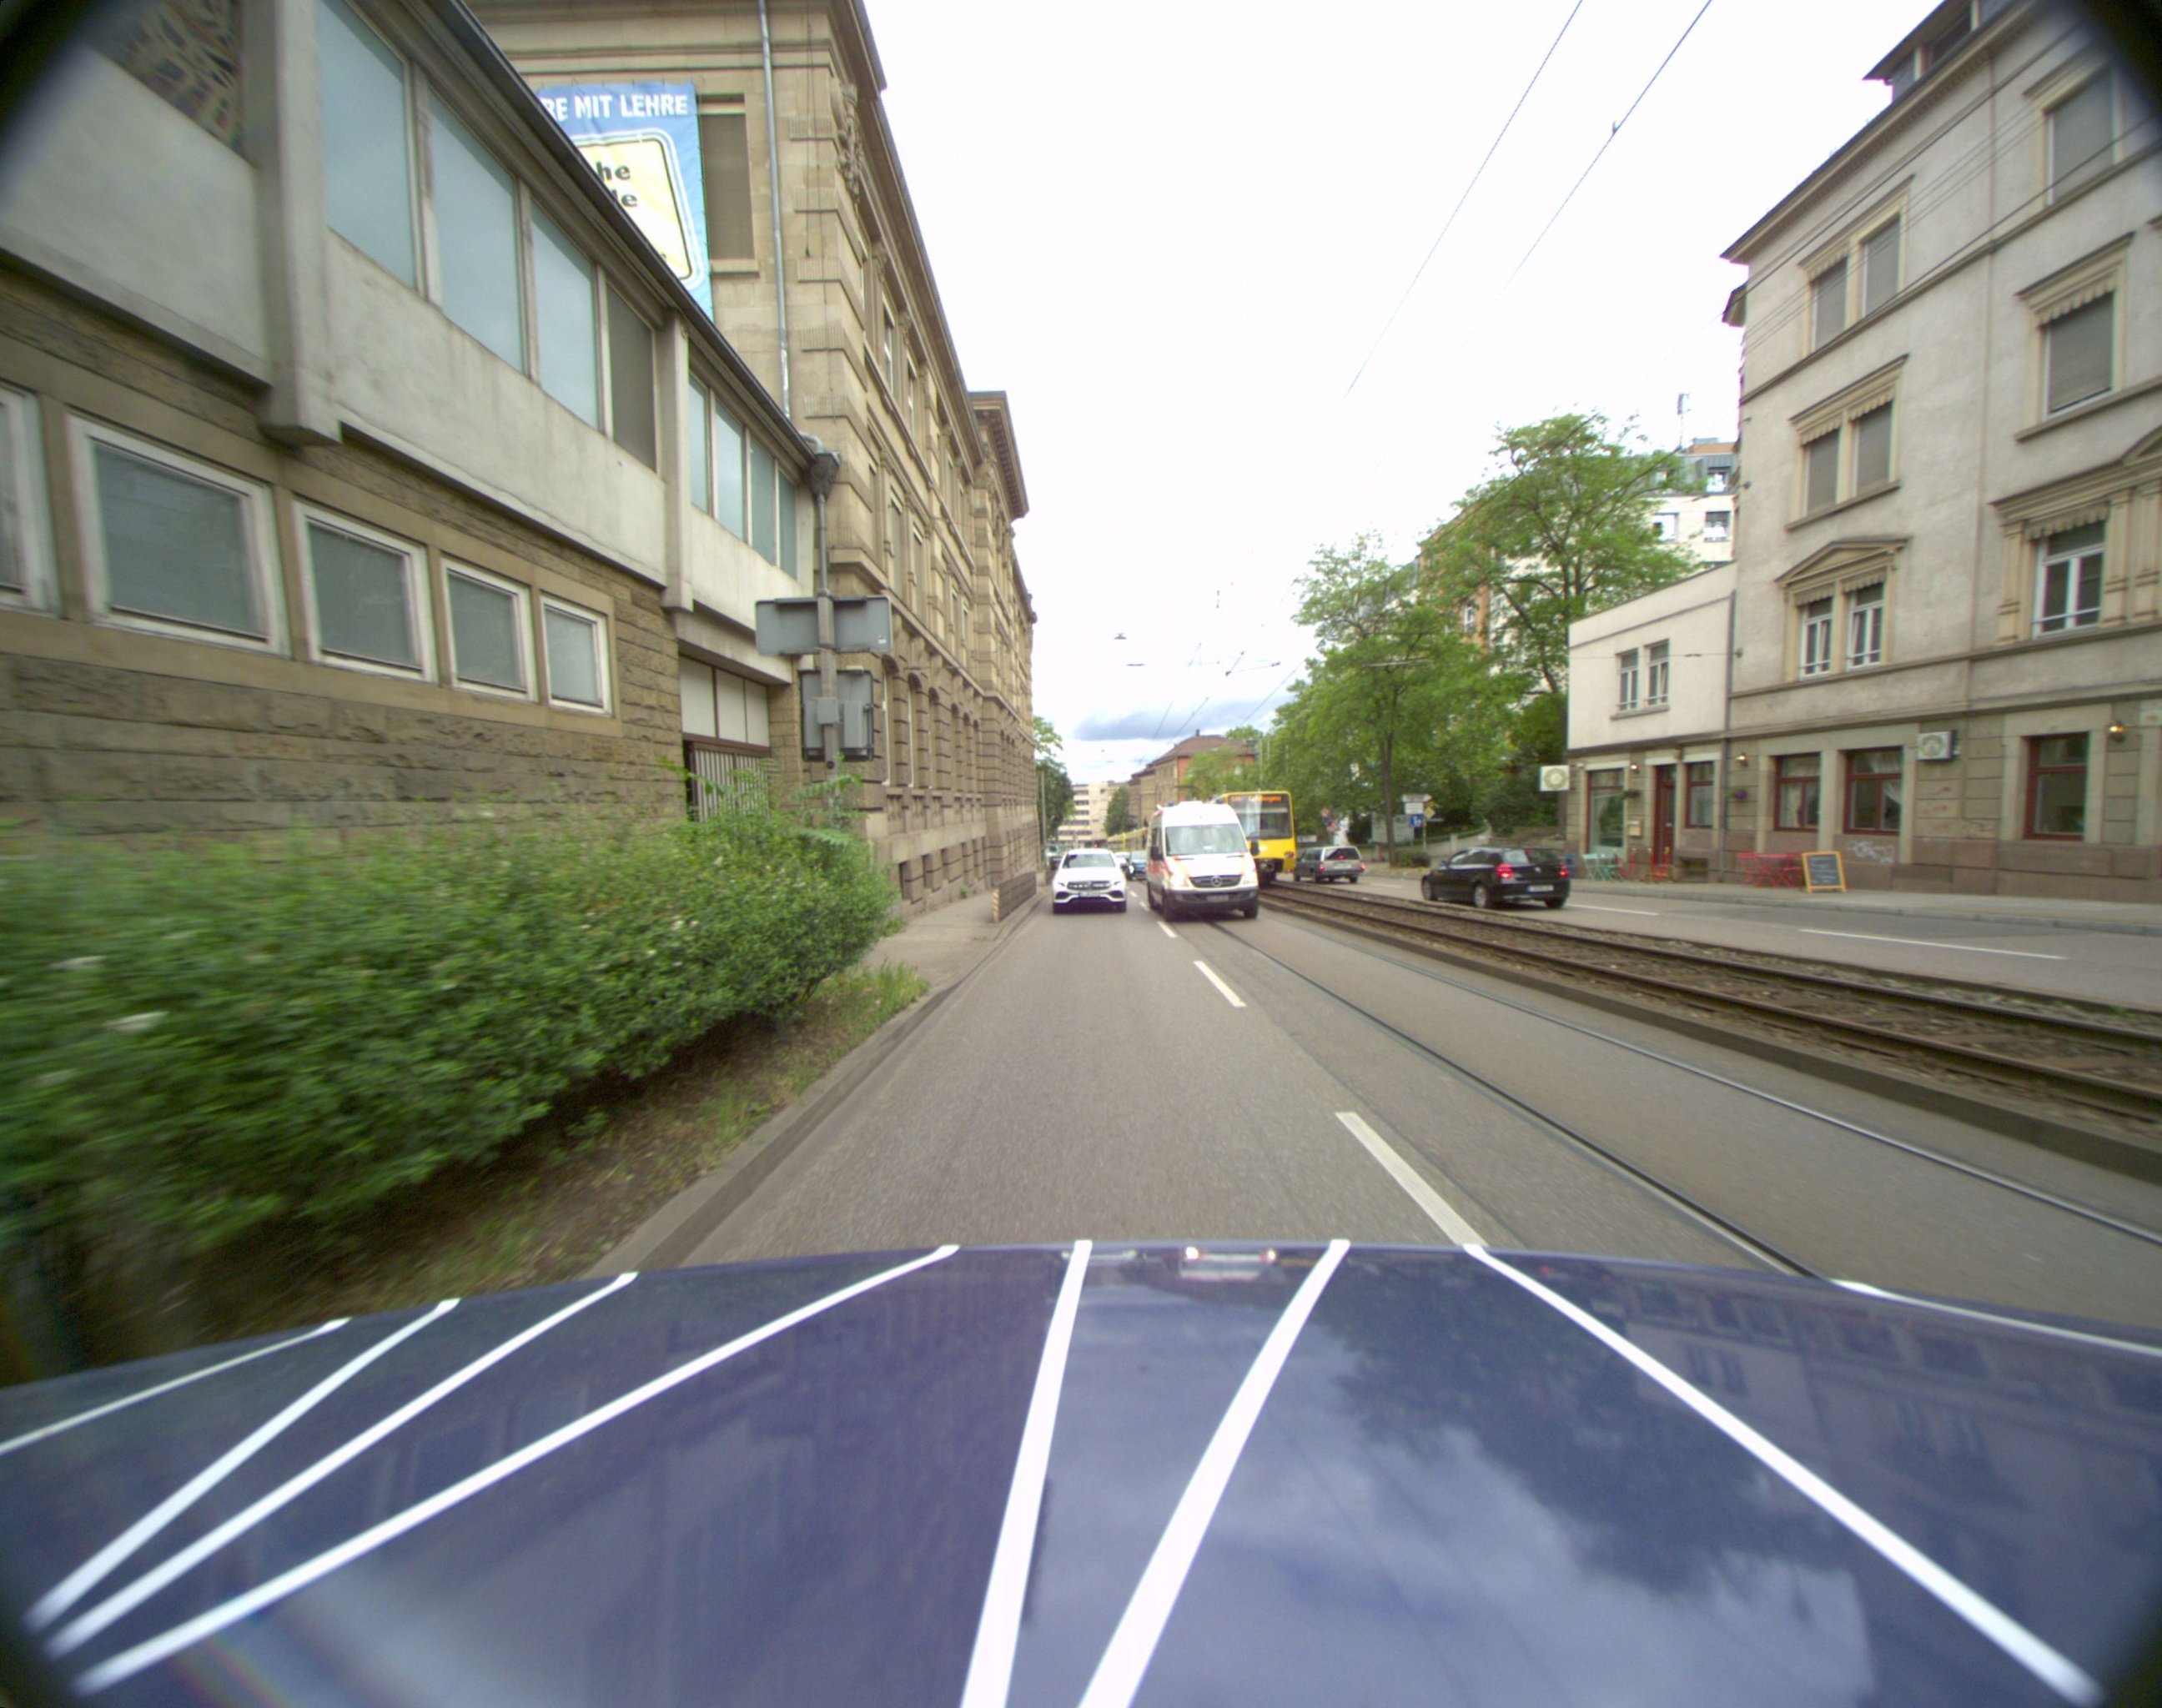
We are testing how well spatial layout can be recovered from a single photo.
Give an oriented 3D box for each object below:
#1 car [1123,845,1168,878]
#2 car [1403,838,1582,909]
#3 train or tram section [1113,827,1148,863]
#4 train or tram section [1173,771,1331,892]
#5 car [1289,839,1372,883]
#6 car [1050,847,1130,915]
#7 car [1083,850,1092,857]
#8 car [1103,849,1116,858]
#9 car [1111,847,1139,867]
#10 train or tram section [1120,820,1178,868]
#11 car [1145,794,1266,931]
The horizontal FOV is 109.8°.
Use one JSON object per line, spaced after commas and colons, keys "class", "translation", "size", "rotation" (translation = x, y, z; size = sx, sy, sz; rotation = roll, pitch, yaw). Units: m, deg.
{"class": "car", "translation": [3.417, 0.372, 40.839], "size": [1.931, 1.563, 4.180], "rotation": [-3, 0, 0]}
{"class": "car", "translation": [9.118, 0.369, 17.274], "size": [1.835, 1.356, 4.162], "rotation": [-2, 0, 1]}
{"class": "train or tram section", "translation": [5.574, -0.980, 87.828], "size": [2.890, 3.704, 14.854], "rotation": [-3, 0, 0]}
{"class": "train or tram section", "translation": [6.596, -0.759, 33.658], "size": [2.883, 3.704, 18.755], "rotation": [-3, 0, 1]}
{"class": "car", "translation": [9.945, 0.259, 30.627], "size": [1.998, 1.587, 4.239], "rotation": [-2, 0, 1]}
{"class": "car", "translation": [0.364, 0.666, 20.823], "size": [1.894, 1.610, 4.479], "rotation": [-2, 0, 4]}
{"class": "car", "translation": [1.592, -0.131, 185.281], "size": [1.999, 1.575, 3.998], "rotation": [-1, 0, -4]}
{"class": "car", "translation": [5.401, -0.073, 144.089], "size": [1.999, 1.645, 3.998], "rotation": [-2, 0, -5]}
{"class": "car", "translation": [3.497, 0.223, 61.429], "size": [1.998, 1.543, 4.316], "rotation": [-2, 1, 0]}
{"class": "train or tram section", "translation": [6.020, -0.823, 71.071], "size": [2.884, 3.704, 18.697], "rotation": [-3, 0, -2]}
{"class": "car", "translation": [2.754, 0.179, 18.222], "size": [2.038, 2.684, 5.855], "rotation": [-2, 0, 2]}
